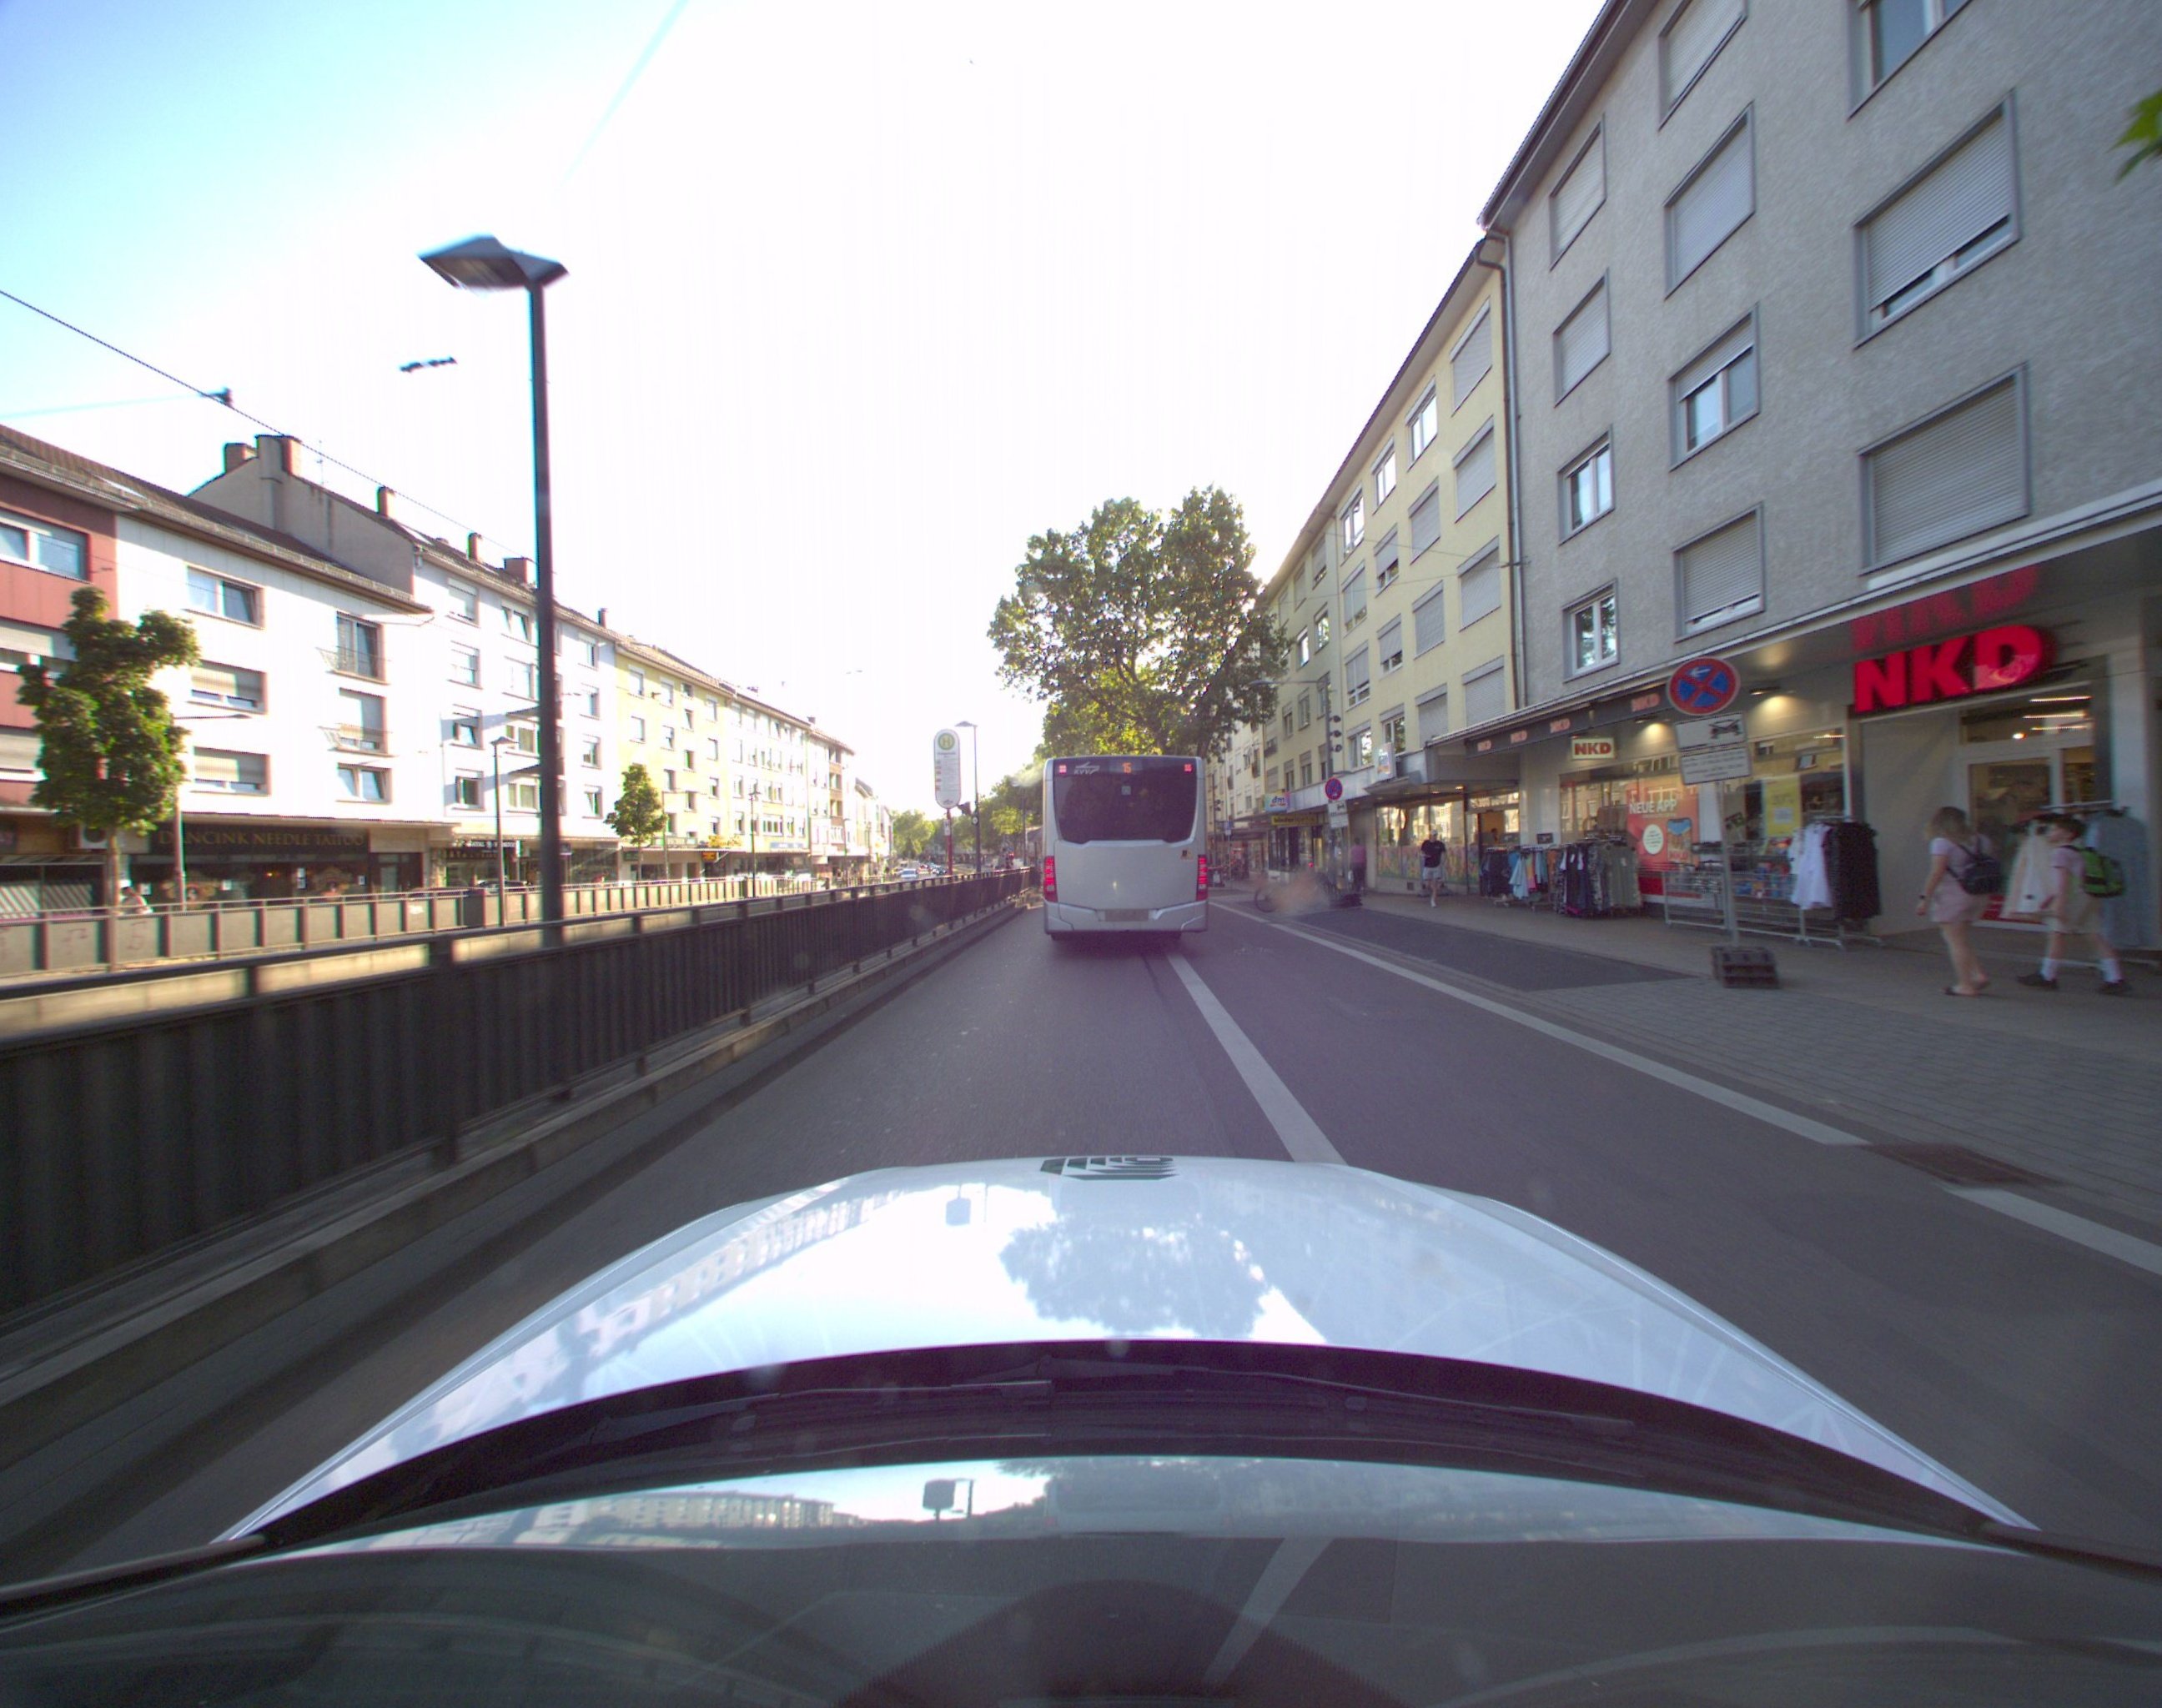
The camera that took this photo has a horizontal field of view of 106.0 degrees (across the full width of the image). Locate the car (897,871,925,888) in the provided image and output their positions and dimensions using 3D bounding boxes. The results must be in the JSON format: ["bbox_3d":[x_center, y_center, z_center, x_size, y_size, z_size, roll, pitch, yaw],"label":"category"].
[{"bbox_3d":[-18.540,2.802,88.979,1.986,1.651,4.001,-2,0,1],"label":"car"}]

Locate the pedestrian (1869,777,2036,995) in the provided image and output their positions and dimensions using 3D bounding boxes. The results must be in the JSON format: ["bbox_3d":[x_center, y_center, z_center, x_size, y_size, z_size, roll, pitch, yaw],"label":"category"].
[{"bbox_3d":[7.630,0.270,7.168,0.562,1.795,0.767,-2,-1,1],"label":"pedestrian"}]

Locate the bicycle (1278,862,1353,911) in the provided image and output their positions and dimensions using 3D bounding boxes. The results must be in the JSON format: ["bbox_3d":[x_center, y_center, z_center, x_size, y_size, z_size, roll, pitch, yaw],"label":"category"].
[{"bbox_3d":[6.081,0.834,21.123,1.707,1.077,0.589,-6,0,-16],"label":"bicycle"}]

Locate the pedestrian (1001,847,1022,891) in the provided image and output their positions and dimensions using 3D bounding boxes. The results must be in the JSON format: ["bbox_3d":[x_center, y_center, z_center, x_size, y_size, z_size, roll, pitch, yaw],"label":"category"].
[{"bbox_3d":[-4.214,0.894,49.303,0.884,2.546,1.166,-3,-1,8],"label":"pedestrian"}]

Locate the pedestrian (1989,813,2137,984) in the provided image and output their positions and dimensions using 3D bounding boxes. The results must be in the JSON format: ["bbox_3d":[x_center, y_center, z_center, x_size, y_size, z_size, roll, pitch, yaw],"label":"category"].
[{"bbox_3d":[8.453,0.365,7.035,0.473,1.394,0.612,-2,-1,1],"label":"pedestrian"}]

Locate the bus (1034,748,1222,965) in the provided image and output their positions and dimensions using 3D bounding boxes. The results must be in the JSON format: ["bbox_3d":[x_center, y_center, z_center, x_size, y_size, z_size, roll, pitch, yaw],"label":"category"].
[{"bbox_3d":[0.556,0.030,16.635,2.689,3.118,9.374,-1,0,-2],"label":"bus"}]

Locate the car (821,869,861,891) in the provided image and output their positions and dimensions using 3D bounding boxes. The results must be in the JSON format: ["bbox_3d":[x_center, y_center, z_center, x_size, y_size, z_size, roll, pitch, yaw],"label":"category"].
[{"bbox_3d":[-19.856,2.125,67.636,1.986,1.651,4.001,-2,0,1],"label":"car"}]

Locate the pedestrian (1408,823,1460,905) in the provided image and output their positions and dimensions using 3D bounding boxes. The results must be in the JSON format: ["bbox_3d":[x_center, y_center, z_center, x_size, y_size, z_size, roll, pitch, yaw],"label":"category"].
[{"bbox_3d":[8.208,0.227,18.984,0.721,1.795,0.767,-5,-1,1],"label":"pedestrian"}]

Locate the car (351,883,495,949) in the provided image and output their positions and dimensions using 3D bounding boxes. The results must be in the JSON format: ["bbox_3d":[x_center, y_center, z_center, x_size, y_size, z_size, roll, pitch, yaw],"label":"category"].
[{"bbox_3d":[-22.087,1.998,27.399,3.532,1.679,1.749,-7,4,-44],"label":"car"}]

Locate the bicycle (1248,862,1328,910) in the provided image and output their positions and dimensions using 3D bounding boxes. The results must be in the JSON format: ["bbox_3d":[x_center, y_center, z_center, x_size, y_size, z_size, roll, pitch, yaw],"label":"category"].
[{"bbox_3d":[5.579,0.857,22.035,1.878,1.077,0.755,-6,0,4],"label":"bicycle"}]

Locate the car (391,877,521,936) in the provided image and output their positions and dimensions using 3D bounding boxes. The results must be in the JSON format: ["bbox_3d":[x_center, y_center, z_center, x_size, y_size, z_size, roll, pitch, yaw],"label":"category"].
[{"bbox_3d":[-23.148,1.889,30.209,3.532,1.679,1.749,-7,4,-44],"label":"car"}]

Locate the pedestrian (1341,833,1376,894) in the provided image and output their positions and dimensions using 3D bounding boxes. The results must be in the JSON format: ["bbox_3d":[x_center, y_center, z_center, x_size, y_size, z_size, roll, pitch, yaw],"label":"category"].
[{"bbox_3d":[8.404,0.293,24.697,0.721,1.795,0.767,-2,-1,1],"label":"pedestrian"}]
